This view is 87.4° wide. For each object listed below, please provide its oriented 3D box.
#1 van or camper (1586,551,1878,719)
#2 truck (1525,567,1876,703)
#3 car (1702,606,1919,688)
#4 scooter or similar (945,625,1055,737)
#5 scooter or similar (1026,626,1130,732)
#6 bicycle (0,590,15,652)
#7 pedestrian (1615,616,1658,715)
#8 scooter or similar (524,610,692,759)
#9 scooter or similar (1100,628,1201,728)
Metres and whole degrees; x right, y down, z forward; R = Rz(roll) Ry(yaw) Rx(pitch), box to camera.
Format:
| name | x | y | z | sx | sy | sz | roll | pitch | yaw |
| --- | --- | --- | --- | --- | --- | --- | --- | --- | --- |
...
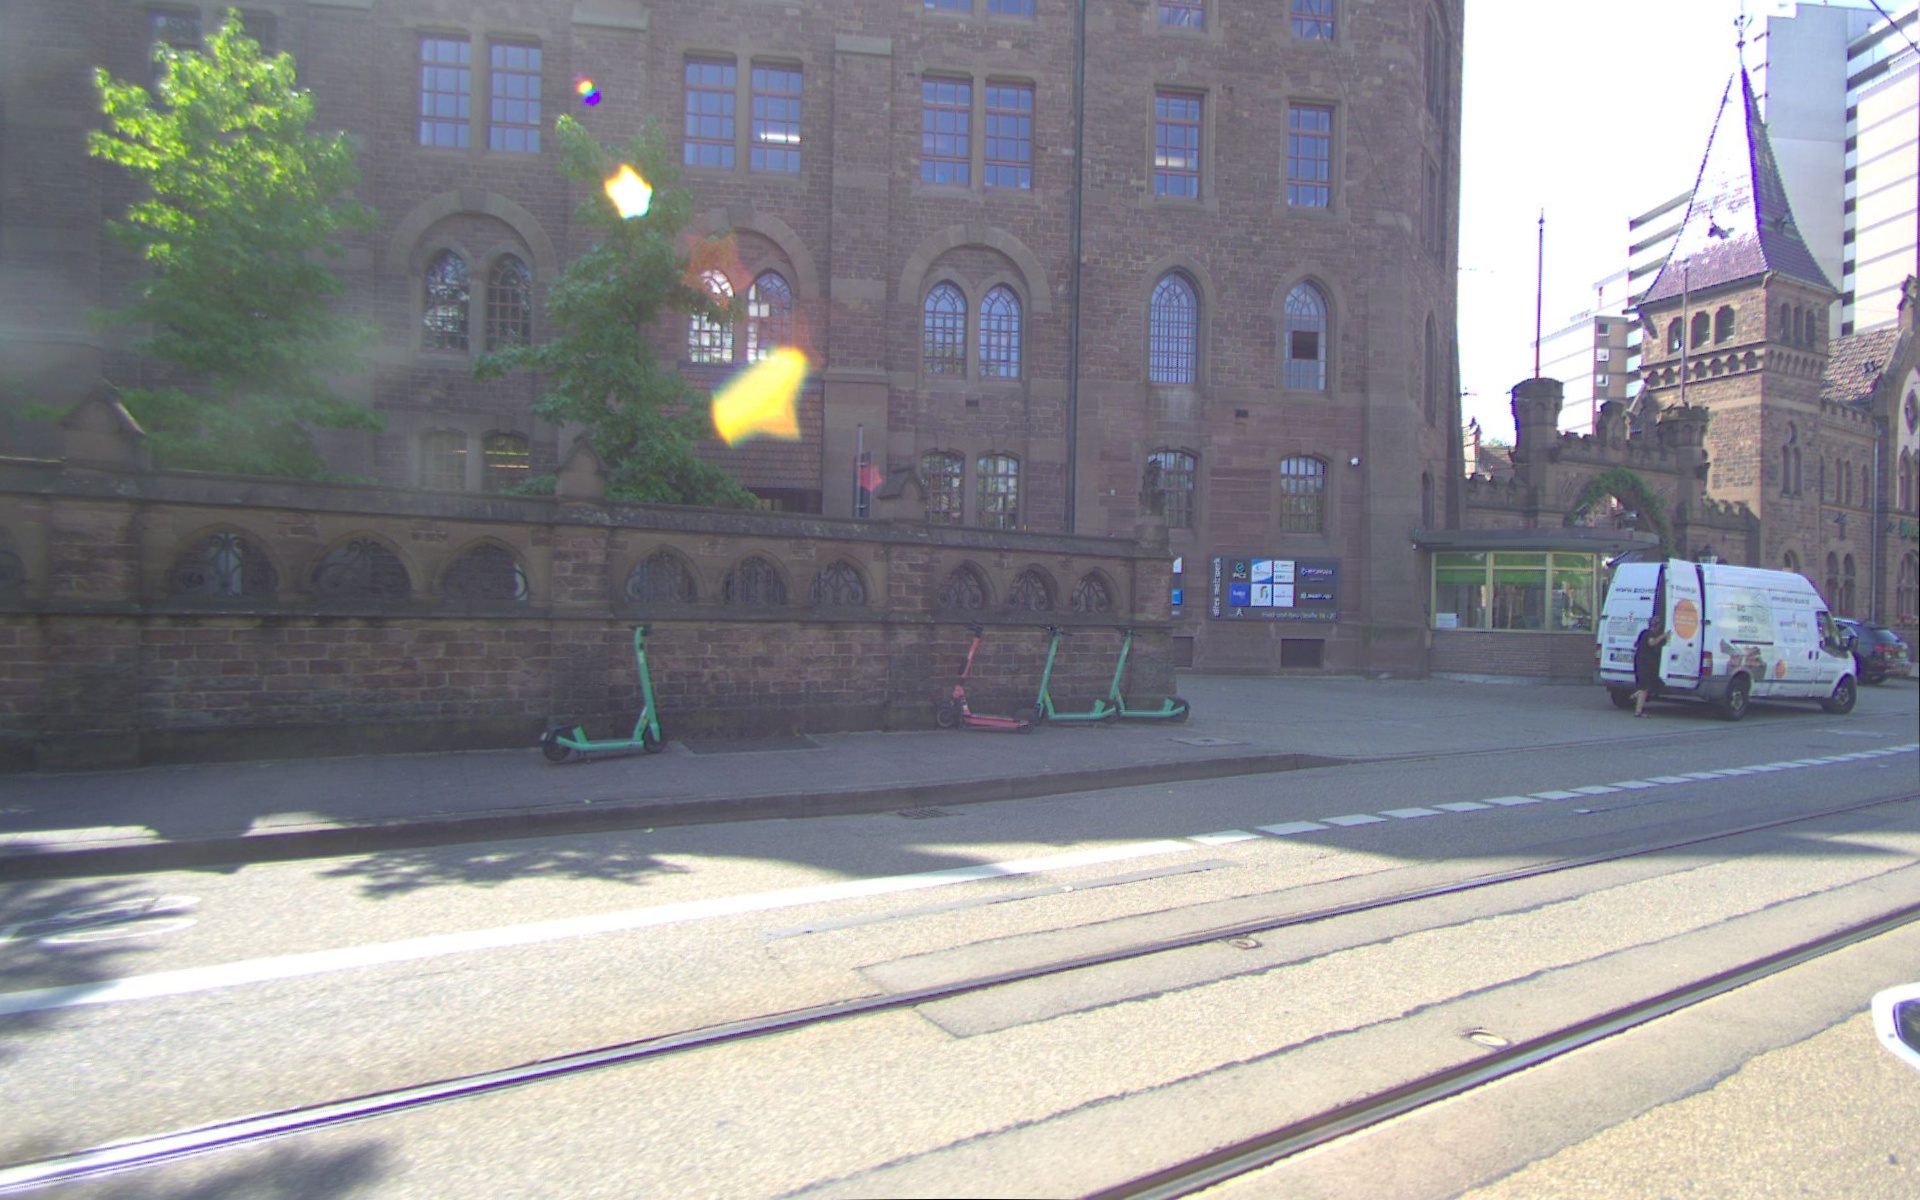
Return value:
| name | x | y | z | sx | sy | sz | roll | pitch | yaw |
| --- | --- | --- | --- | --- | --- | --- | --- | --- | --- |
| van or camper | 14.319 | 0.629 | 18.535 | 5.883 | 2.711 | 2.103 | 2 | 0 | -29 |
| truck | 16.962 | 0.627 | 23.591 | 2.102 | 2.573 | 6.300 | 0 | 3 | -25 |
| car | 22.893 | 1.199 | 27.087 | 1.976 | 1.767 | 4.116 | 2 | 3 | -29 |
| scooter or similar | 0.441 | 0.900 | 11.208 | 1.156 | 1.194 | 0.340 | 2 | 0 | -5 |
| scooter or similar | 1.389 | 0.930 | 11.883 | 1.156 | 1.194 | 0.340 | 2 | 0 | -5 |
| bicycle | -17.600 | 0.363 | 16.898 | 0.883 | 1.111 | 2.688 | 2 | 0 | -1 |
| pedestrian | 11.424 | 1.082 | 16.962 | 0.543 | 1.620 | 0.497 | 2 | 0 | 37 |
| scooter or similar | -3.034 | 0.699 | 8.725 | 0.416 | 1.194 | 1.309 | 2 | 0 | 44 |
| scooter or similar | 2.357 | 0.961 | 12.448 | 1.156 | 1.194 | 0.340 | 2 | 0 | -5 |
